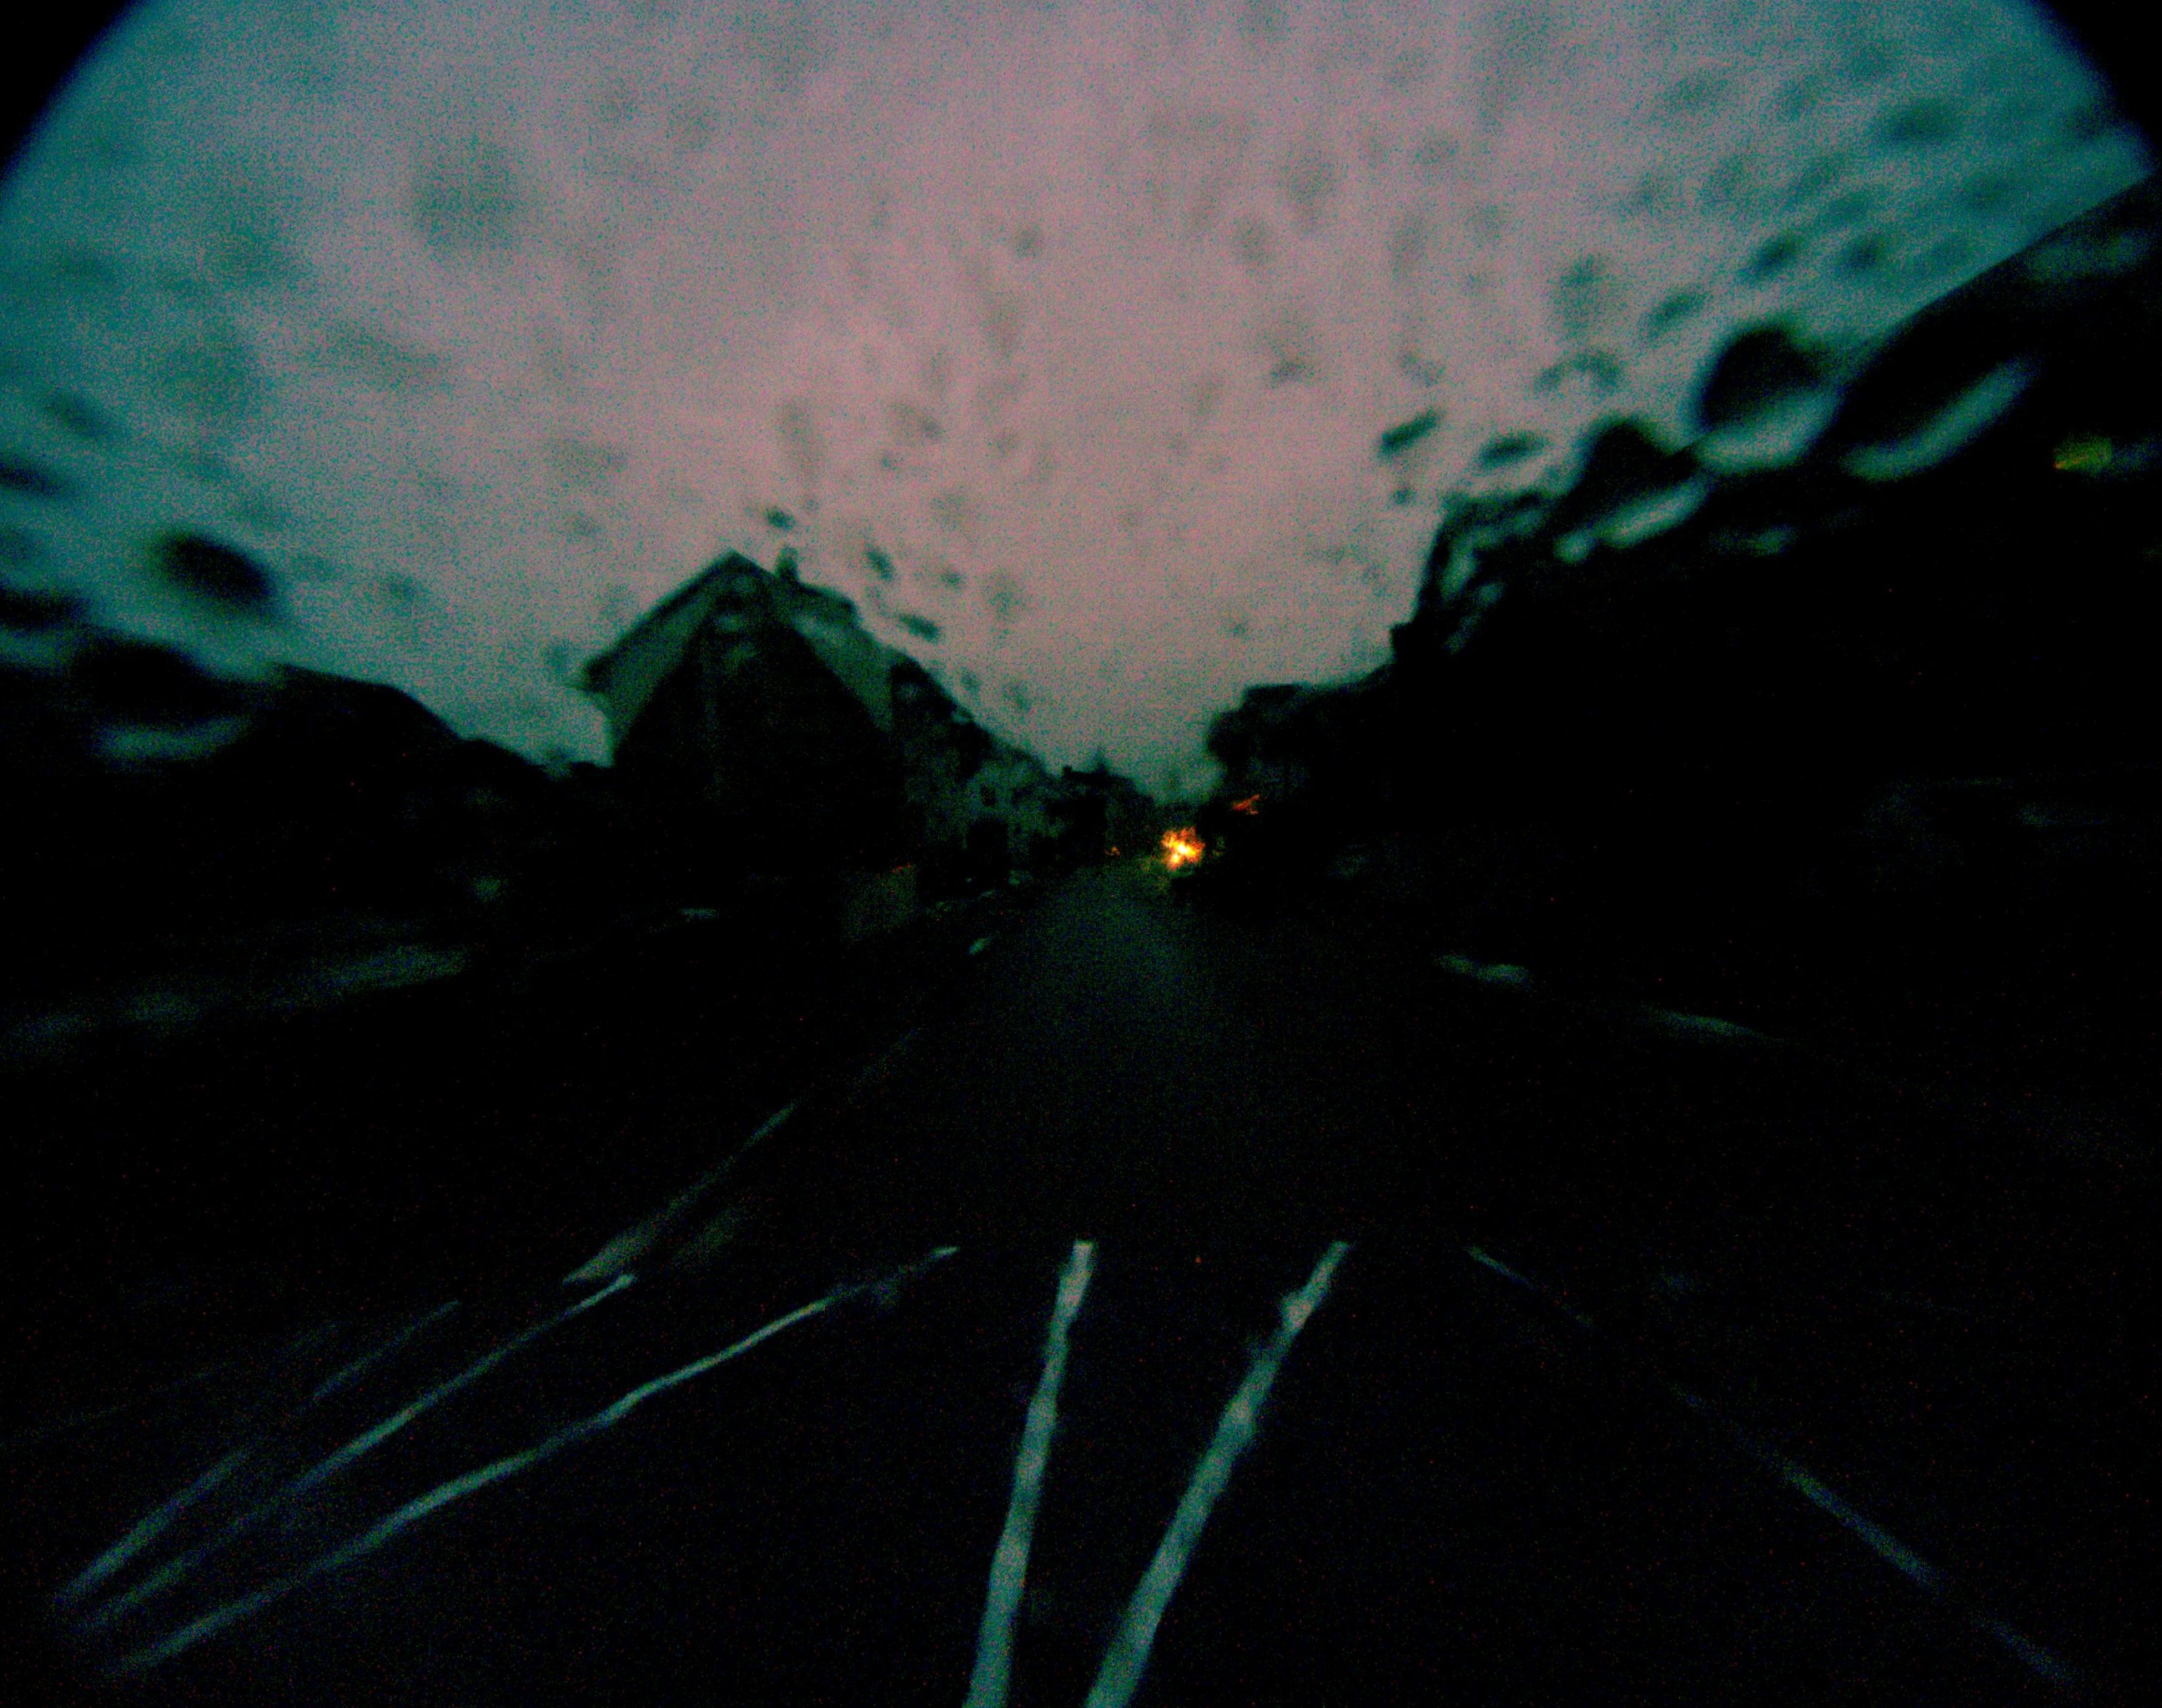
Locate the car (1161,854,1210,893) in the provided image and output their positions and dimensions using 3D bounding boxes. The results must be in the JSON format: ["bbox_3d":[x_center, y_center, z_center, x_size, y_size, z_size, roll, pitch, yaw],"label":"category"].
[{"bbox_3d":[4.368,0.778,32.142,1.622,1.430,3.656,-2,1,1],"label":"car"}]

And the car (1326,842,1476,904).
[{"bbox_3d":[8.979,0.508,21.557,3.471,1.519,1.774,-3,1,5],"label":"car"}]

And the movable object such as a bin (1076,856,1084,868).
[{"bbox_3d":[-0.097,0.625,62.636,0.538,0.932,0.690,-3,1,8],"label":"movable object such as a bin"}]

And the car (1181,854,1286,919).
[{"bbox_3d":[3.970,0.772,20.620,1.882,1.386,5.074,-2,1,1],"label":"car"}]

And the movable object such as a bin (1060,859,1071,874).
[{"bbox_3d":[-1.020,0.822,50.317,0.638,0.912,0.686,-3,1,6],"label":"movable object such as a bin"}]

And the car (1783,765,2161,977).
[{"bbox_3d":[10.095,0.059,7.652,3.996,1.736,2.000,-5,1,5],"label":"car"}]
